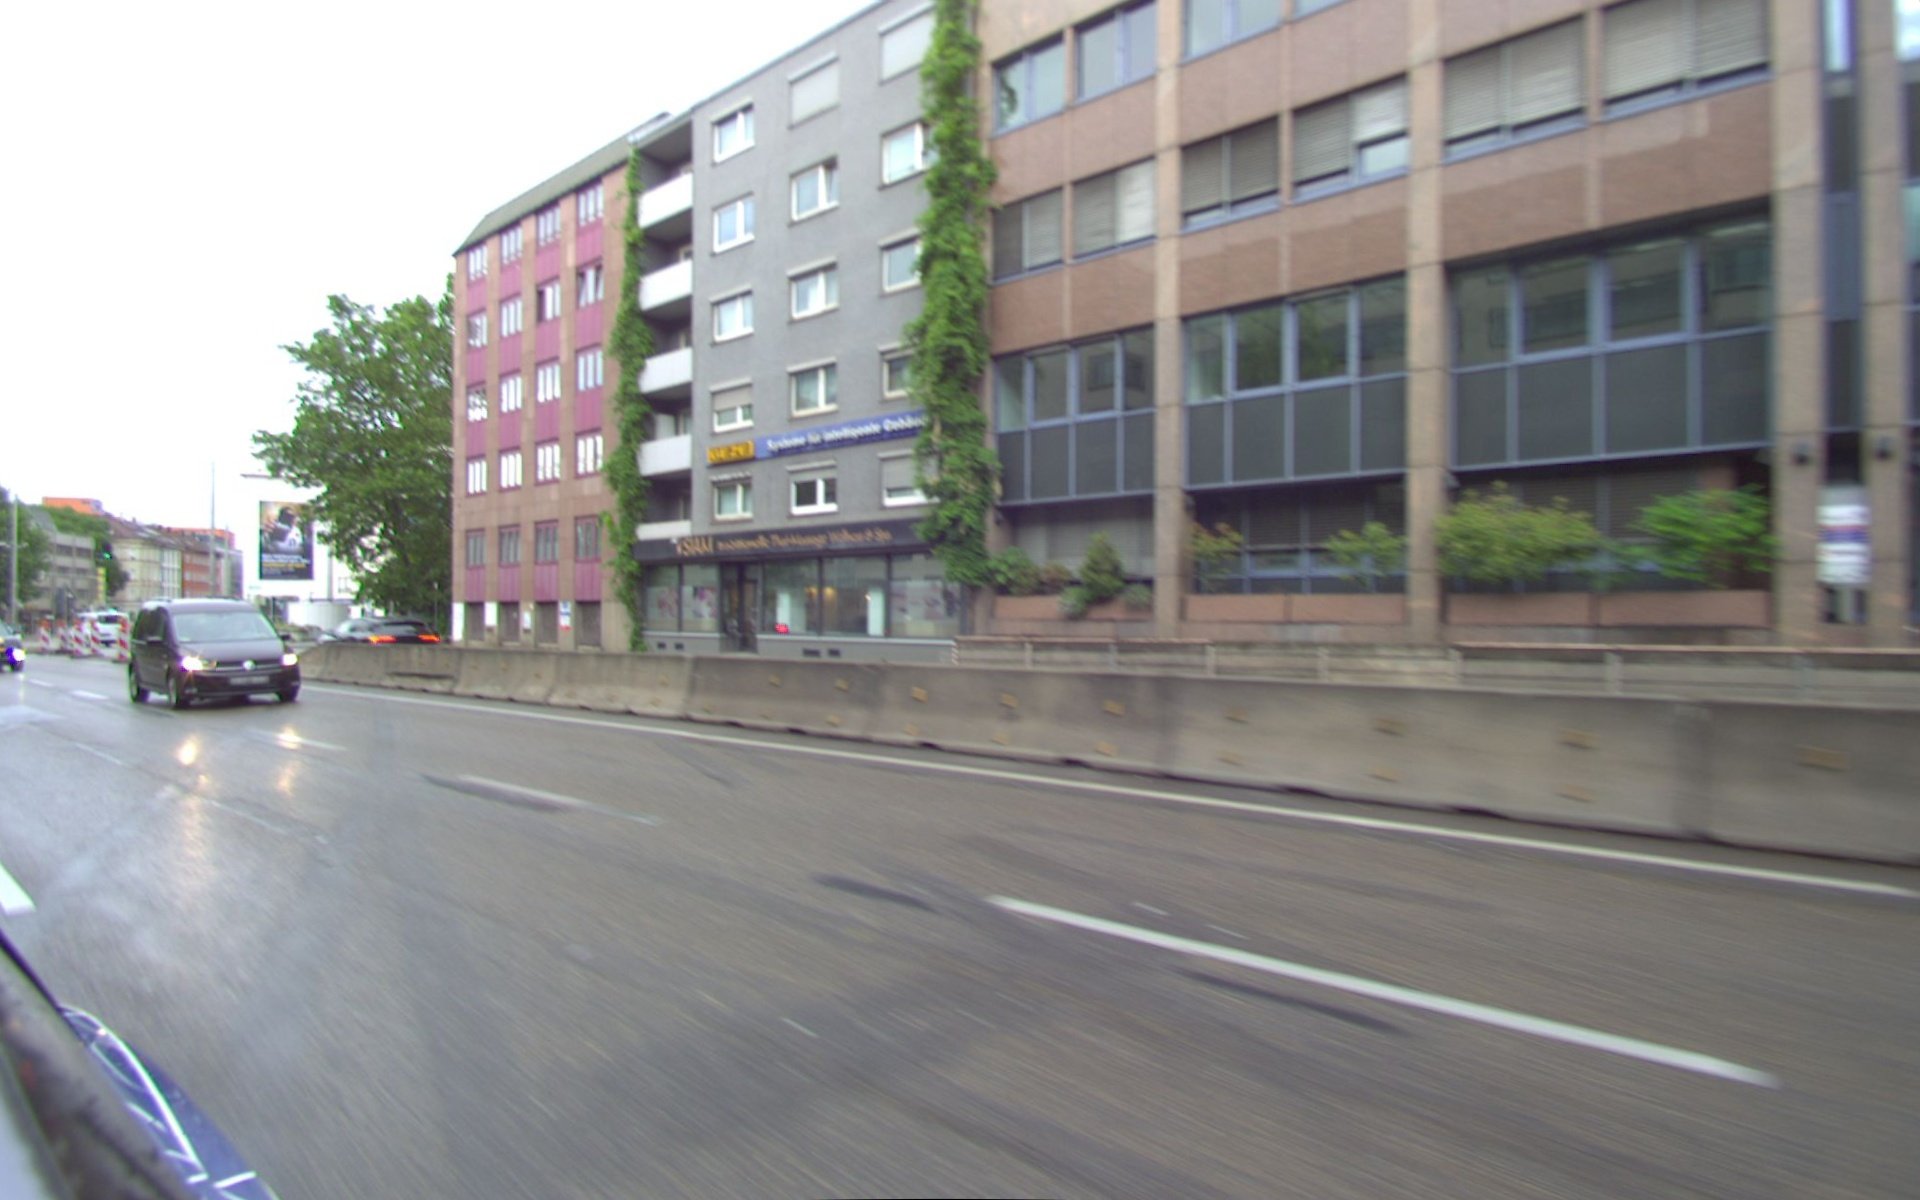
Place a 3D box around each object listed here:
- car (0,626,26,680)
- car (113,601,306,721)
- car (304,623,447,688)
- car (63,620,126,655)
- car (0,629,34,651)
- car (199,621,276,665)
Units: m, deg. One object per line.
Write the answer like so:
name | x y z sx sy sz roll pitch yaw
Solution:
car | -29.473 1.602 30.066 3.994 1.552 1.907 -2 -1 38
car | -13.038 0.978 17.506 4.122 1.813 1.772 -1 0 40
car | -15.200 1.394 26.245 4.227 1.545 1.842 -1 -3 40
car | -51.779 2.238 60.514 5.284 2.005 1.973 -1 -3 40
car | -66.571 2.799 71.161 2.941 1.496 1.542 -3 -3 34
car | -31.066 1.816 43.480 4.423 1.784 1.703 -2 -3 41
